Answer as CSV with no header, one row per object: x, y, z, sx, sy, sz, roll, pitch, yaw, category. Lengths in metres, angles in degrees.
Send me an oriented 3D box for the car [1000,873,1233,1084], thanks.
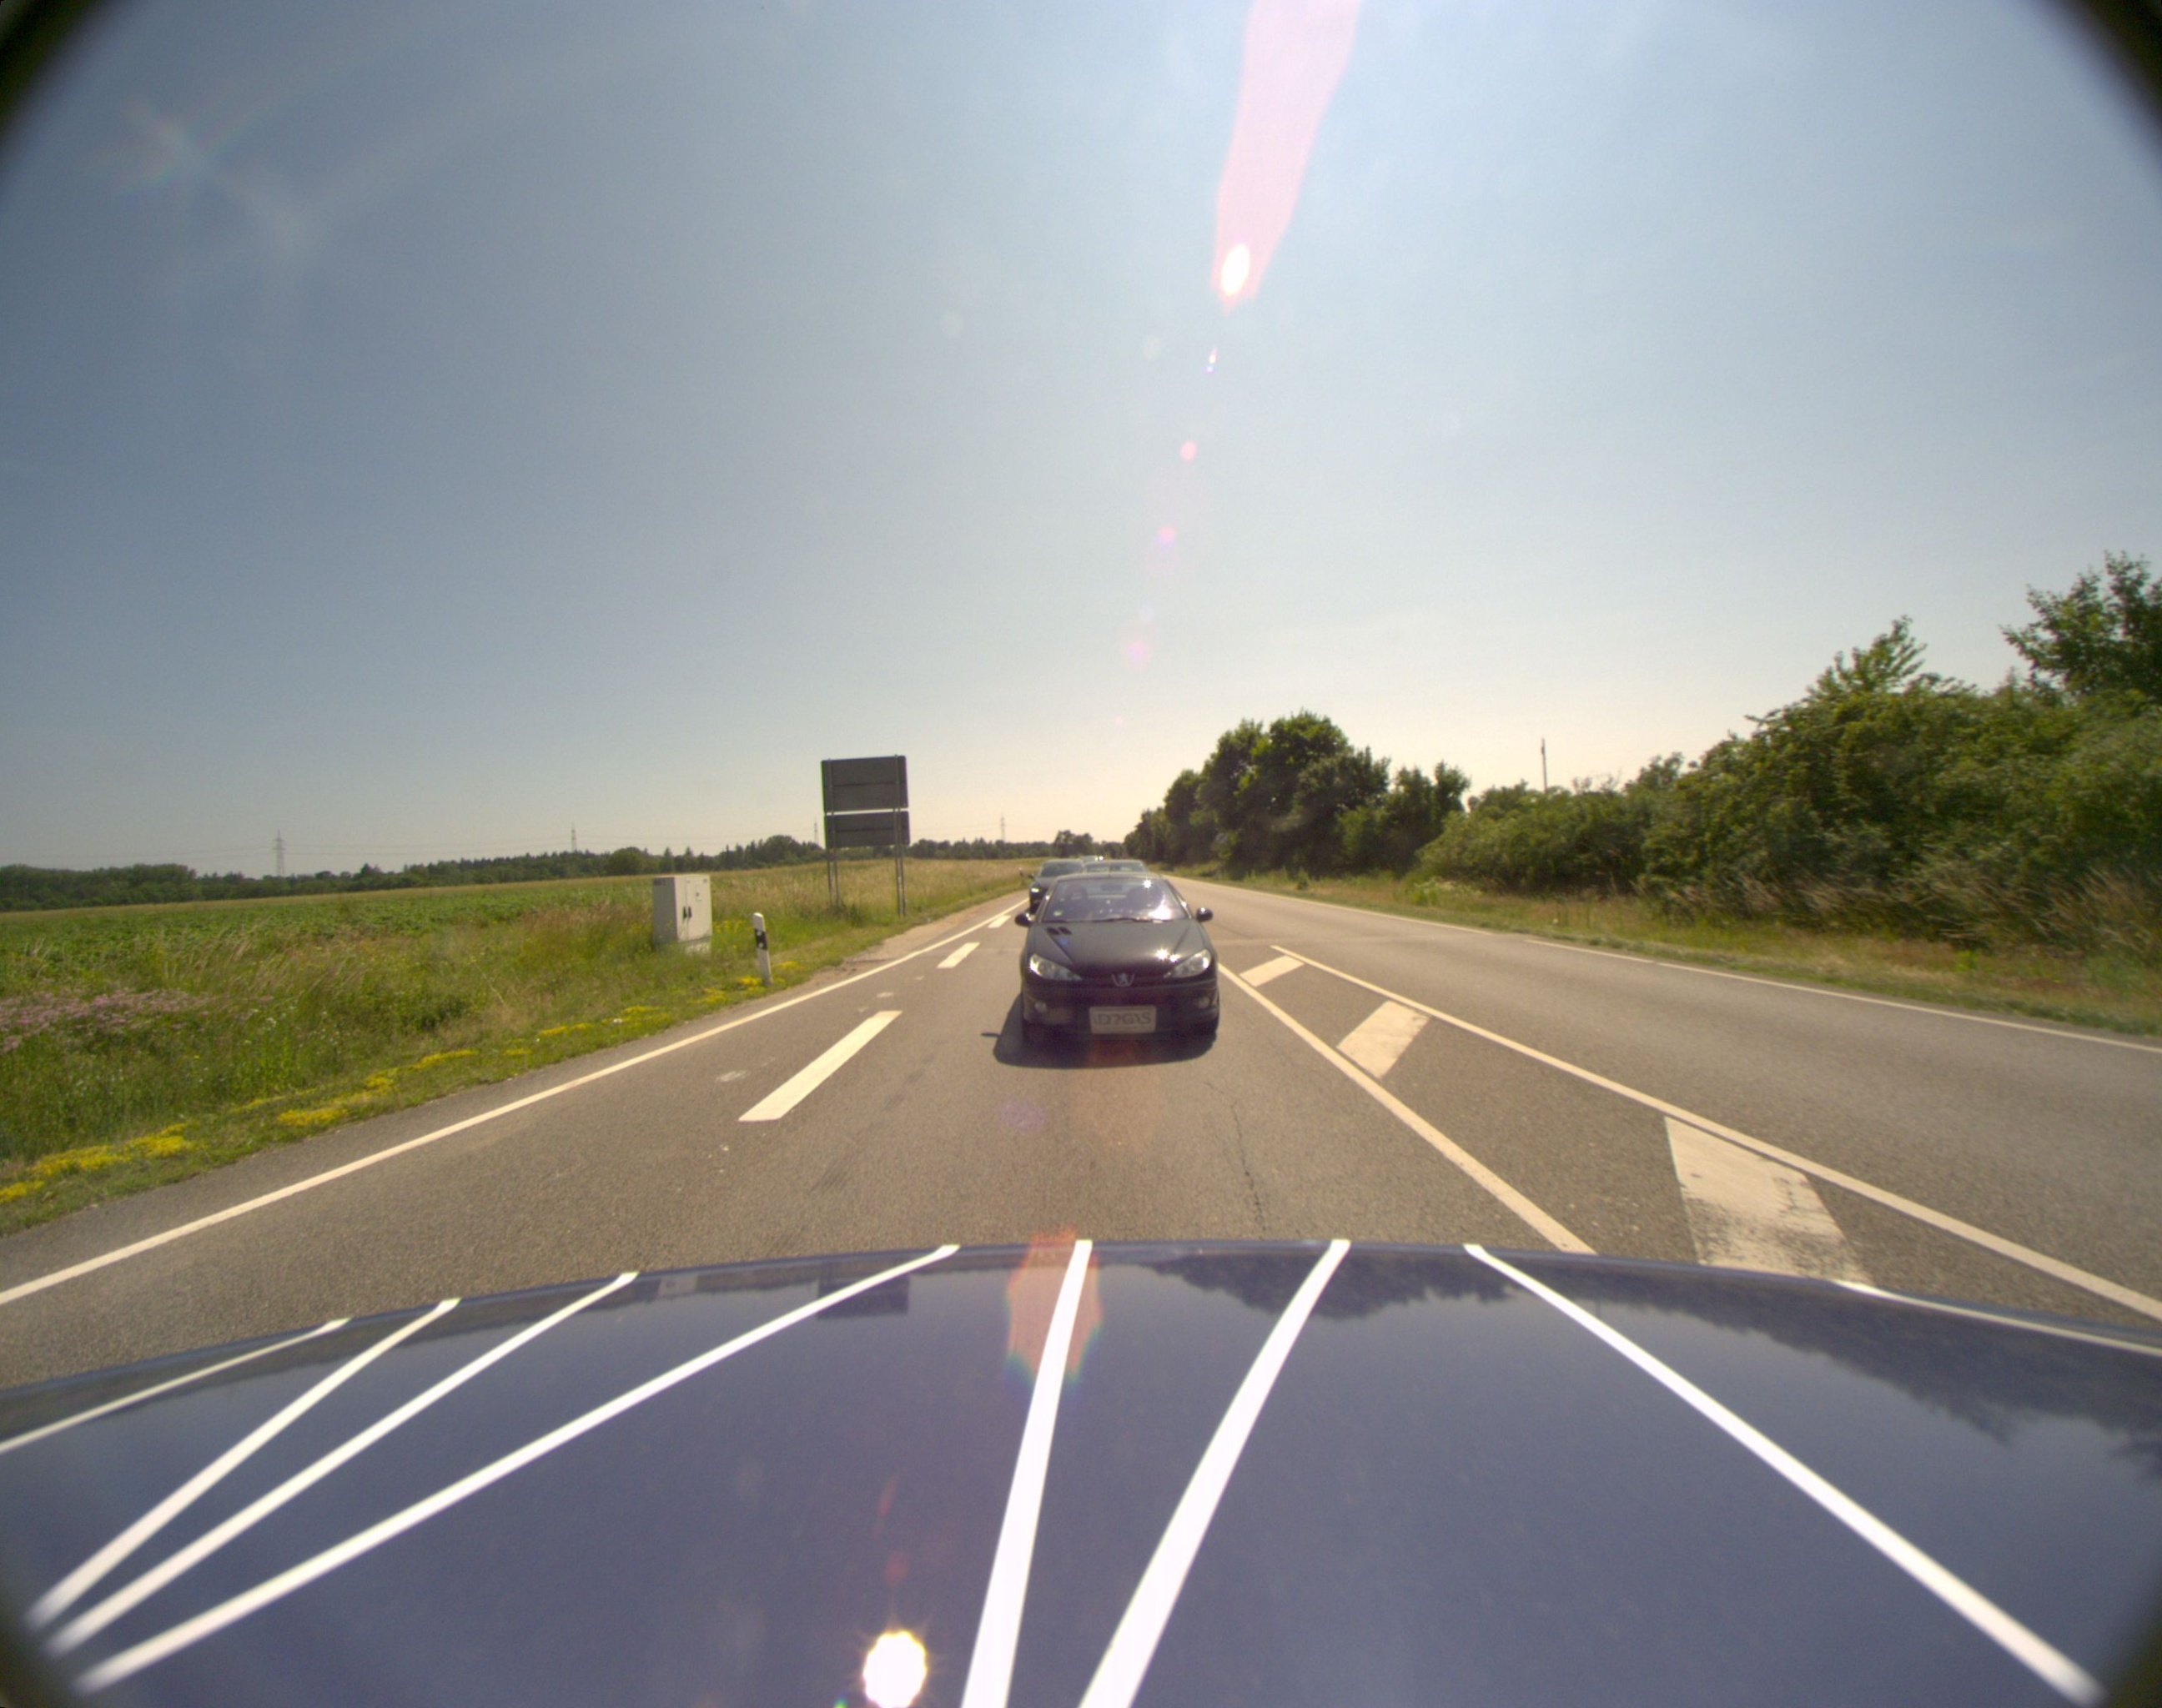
0.288,0.964,7.457,1.665,1.389,3.731,-2,0,1,car

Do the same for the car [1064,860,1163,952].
0.619,0.915,14.992,1.665,1.477,3.732,-2,0,2,car

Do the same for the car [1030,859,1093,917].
-0.489,0.939,22.663,1.665,1.449,4.173,-2,0,1,car

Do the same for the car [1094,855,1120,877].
1.661,0.773,49.420,1.588,1.294,3.631,-2,0,1,car

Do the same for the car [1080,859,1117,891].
0.784,0.947,35.290,1.588,1.294,3.631,-2,0,1,car

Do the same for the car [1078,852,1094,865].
0.540,0.430,76.797,1.588,1.294,3.631,-2,0,1,car
